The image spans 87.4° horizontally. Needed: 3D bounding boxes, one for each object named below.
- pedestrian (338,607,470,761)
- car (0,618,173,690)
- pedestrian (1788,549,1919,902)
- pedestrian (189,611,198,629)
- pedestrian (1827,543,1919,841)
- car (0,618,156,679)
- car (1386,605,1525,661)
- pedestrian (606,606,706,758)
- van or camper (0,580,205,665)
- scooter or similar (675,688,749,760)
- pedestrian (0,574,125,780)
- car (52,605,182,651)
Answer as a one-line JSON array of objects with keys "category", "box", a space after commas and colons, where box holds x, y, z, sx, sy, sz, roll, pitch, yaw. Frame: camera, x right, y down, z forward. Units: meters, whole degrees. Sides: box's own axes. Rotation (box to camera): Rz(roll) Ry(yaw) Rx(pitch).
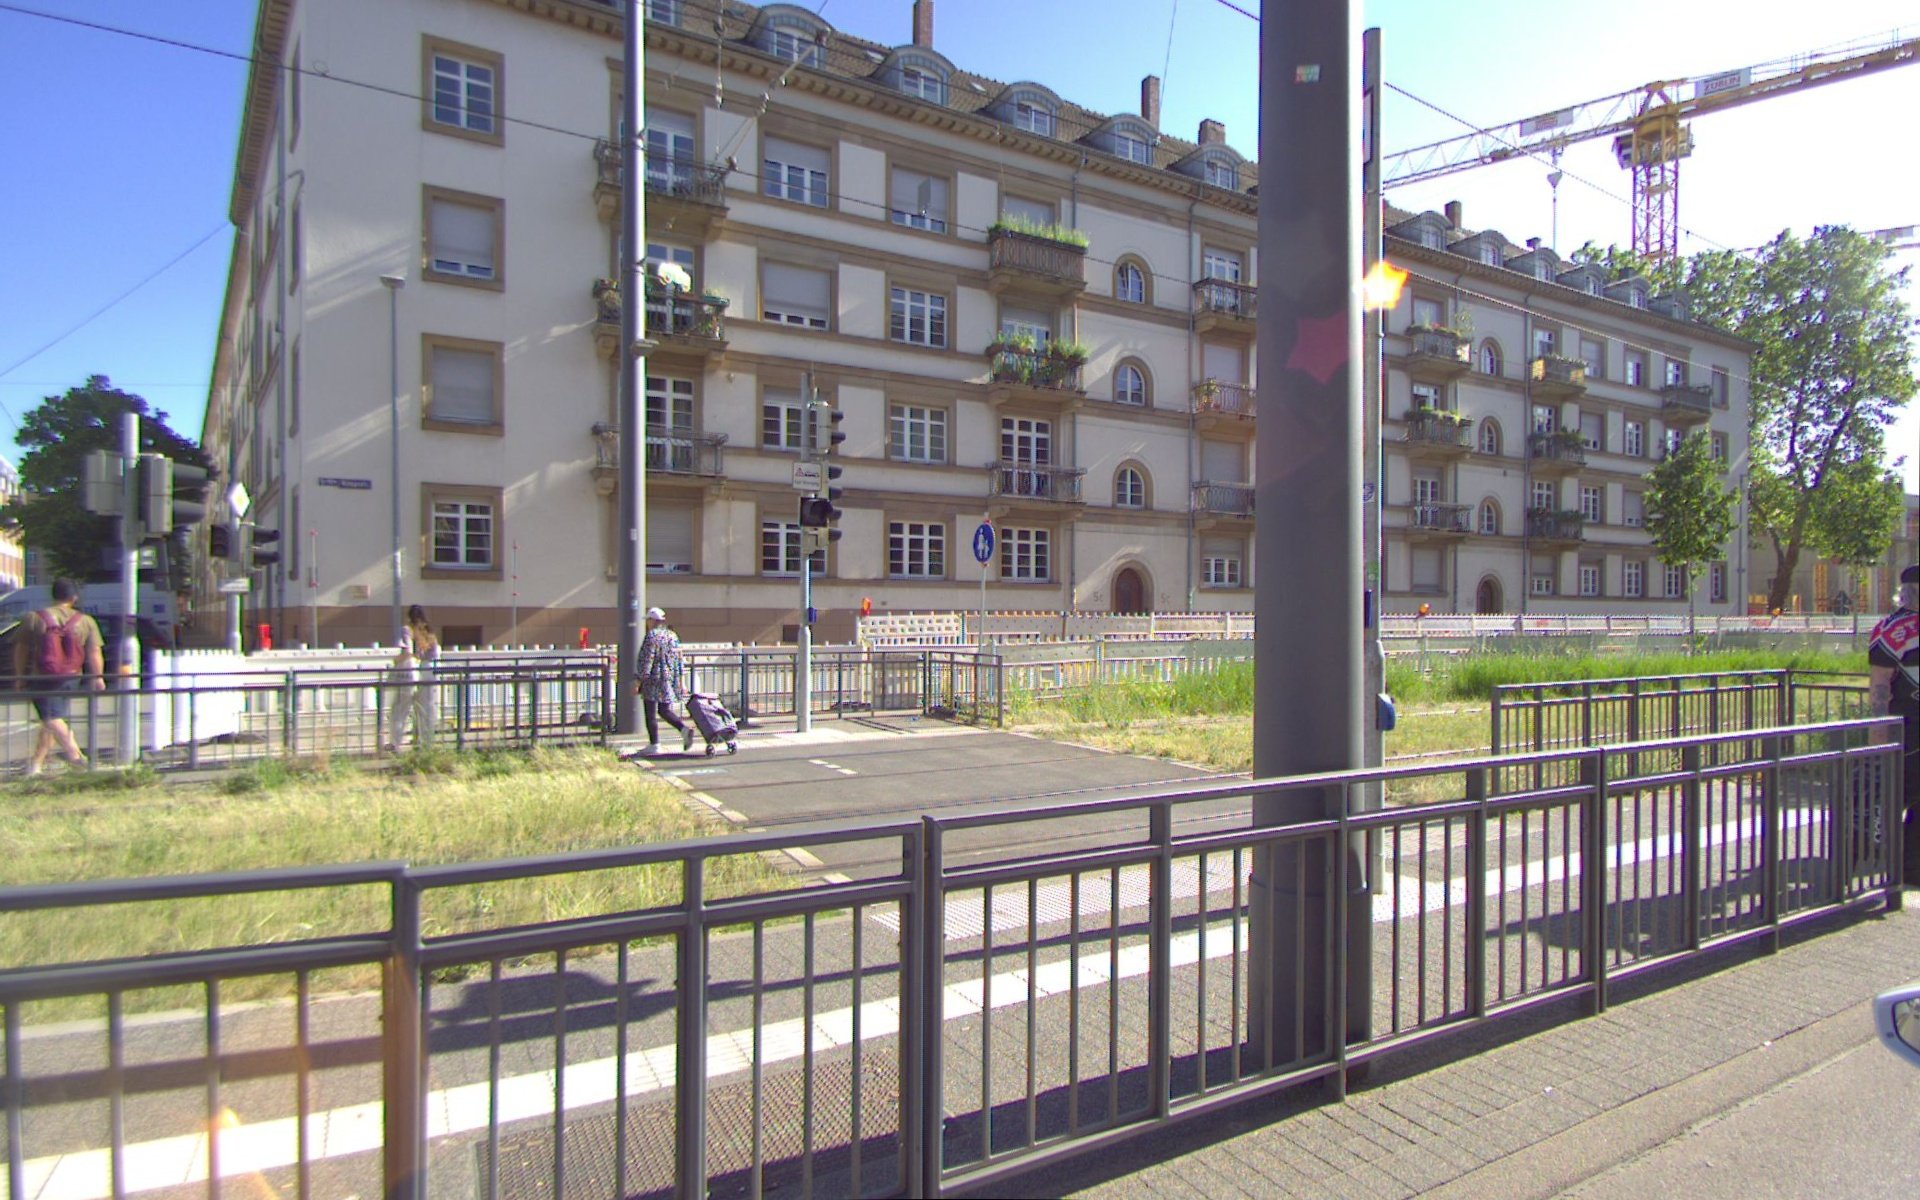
[{"category": "pedestrian", "box": [-5.989, 0.866, 10.859, 0.850, 1.557, 0.910, 1, 0, 14]}, {"category": "car", "box": [-20.442, 1.197, 23.119, 3.642, 1.542, 1.672, 1, -1, -39]}, {"category": "pedestrian", "box": [5.250, 0.647, 5.518, 0.961, 1.812, 0.859, 1, 0, -36]}, {"category": "pedestrian", "box": [-76.970, 2.008, 100.888, 0.682, 1.778, 0.808, 1, -1, -36]}, {"category": "pedestrian", "box": [6.525, 0.600, 6.652, 0.647, 1.934, 1.068, 1, -1, -36]}, {"category": "car", "box": [-24.089, 1.265, 27.188, 3.635, 1.542, 1.672, 1, -1, -39]}, {"category": "car", "box": [14.652, 0.949, 29.676, 3.953, 1.536, 1.808, 1, -1, -30]}, {"category": "pedestrian", "box": [-3.325, 0.856, 10.961, 0.791, 1.557, 0.806, 1, 0, -39]}, {"category": "van or camper", "box": [-26.945, 0.688, 30.817, 5.910, 2.433, 1.976, 1, -1, -42]}, {"category": "scooter or similar", "box": [-2.656, 1.310, 10.732, 0.511, 0.660, 0.701, 1, 0, -39]}, {"category": "pedestrian", "box": [-8.402, 0.675, 9.380, 0.901, 1.804, 0.858, 1, 0, -39]}, {"category": "car", "box": [-34.575, 1.134, 41.341, 3.963, 1.799, 1.724, 1, -1, -37]}]
